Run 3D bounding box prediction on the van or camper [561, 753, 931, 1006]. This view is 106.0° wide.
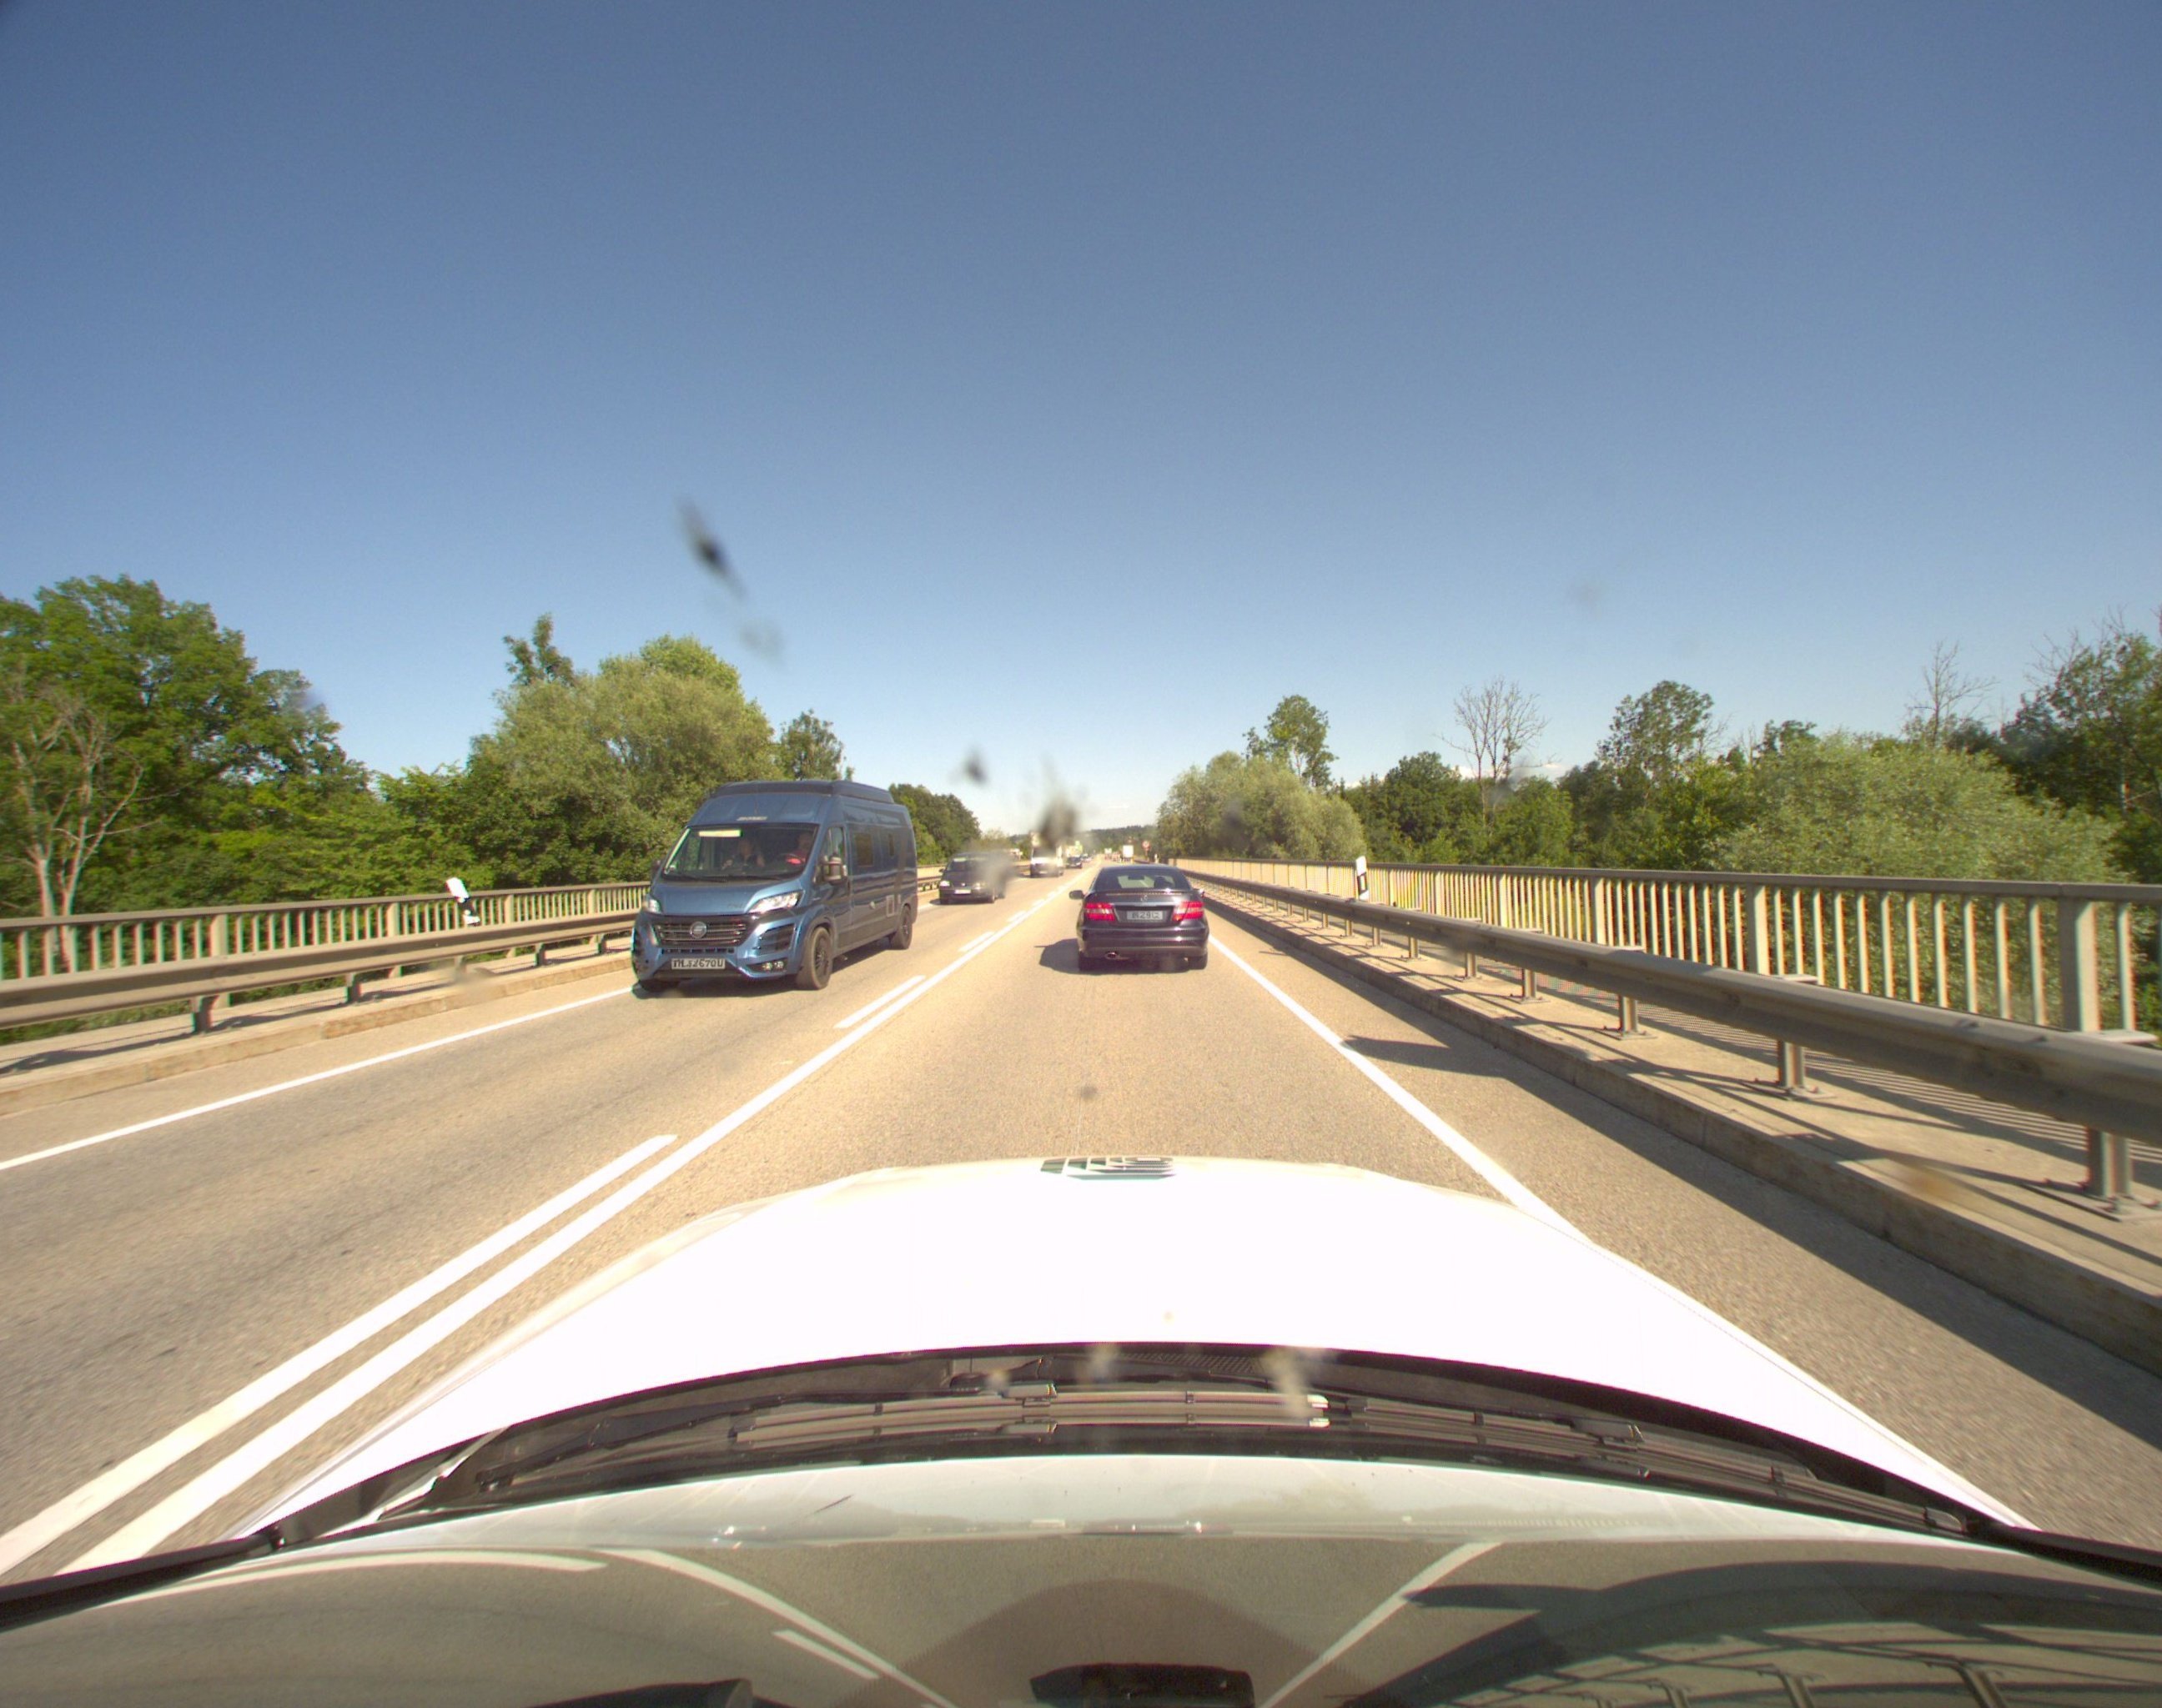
[{"bbox_3d":[-4.152,0.272,11.846,2.420,2.642,6.409,-1,0,3],"label":"van or camper"}]

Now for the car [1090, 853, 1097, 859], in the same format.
[{"bbox_3d":[3.656,0.490,231.957,1.796,1.606,3.919,-1,0,4],"label":"car"}]

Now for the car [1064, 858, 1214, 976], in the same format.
[{"bbox_3d":[0.813,0.777,11.875,1.786,1.376,4.003,-1,0,3],"label":"car"}]

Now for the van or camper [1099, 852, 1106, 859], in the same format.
[{"bbox_3d":[6.784,0.393,258.887,1.984,2.013,4.005,-1,0,5],"label":"van or camper"}]

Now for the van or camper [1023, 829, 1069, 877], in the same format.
[{"bbox_3d":[-2.440,-0.084,59.141,2.625,3.256,7.754,-1,0,2],"label":"van or camper"}]

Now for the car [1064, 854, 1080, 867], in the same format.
[{"bbox_3d":[-1.036,0.726,92.208,1.654,1.436,4.188,-1,0,1],"label":"car"}]

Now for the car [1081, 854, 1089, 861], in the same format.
[{"bbox_3d":[0.901,0.777,178.424,1.694,1.356,3.738,-1,0,3],"label":"car"}]

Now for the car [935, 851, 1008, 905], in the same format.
[{"bbox_3d":[-3.622,0.747,27.775,1.835,1.642,4.576,-1,0,0],"label":"car"}]
